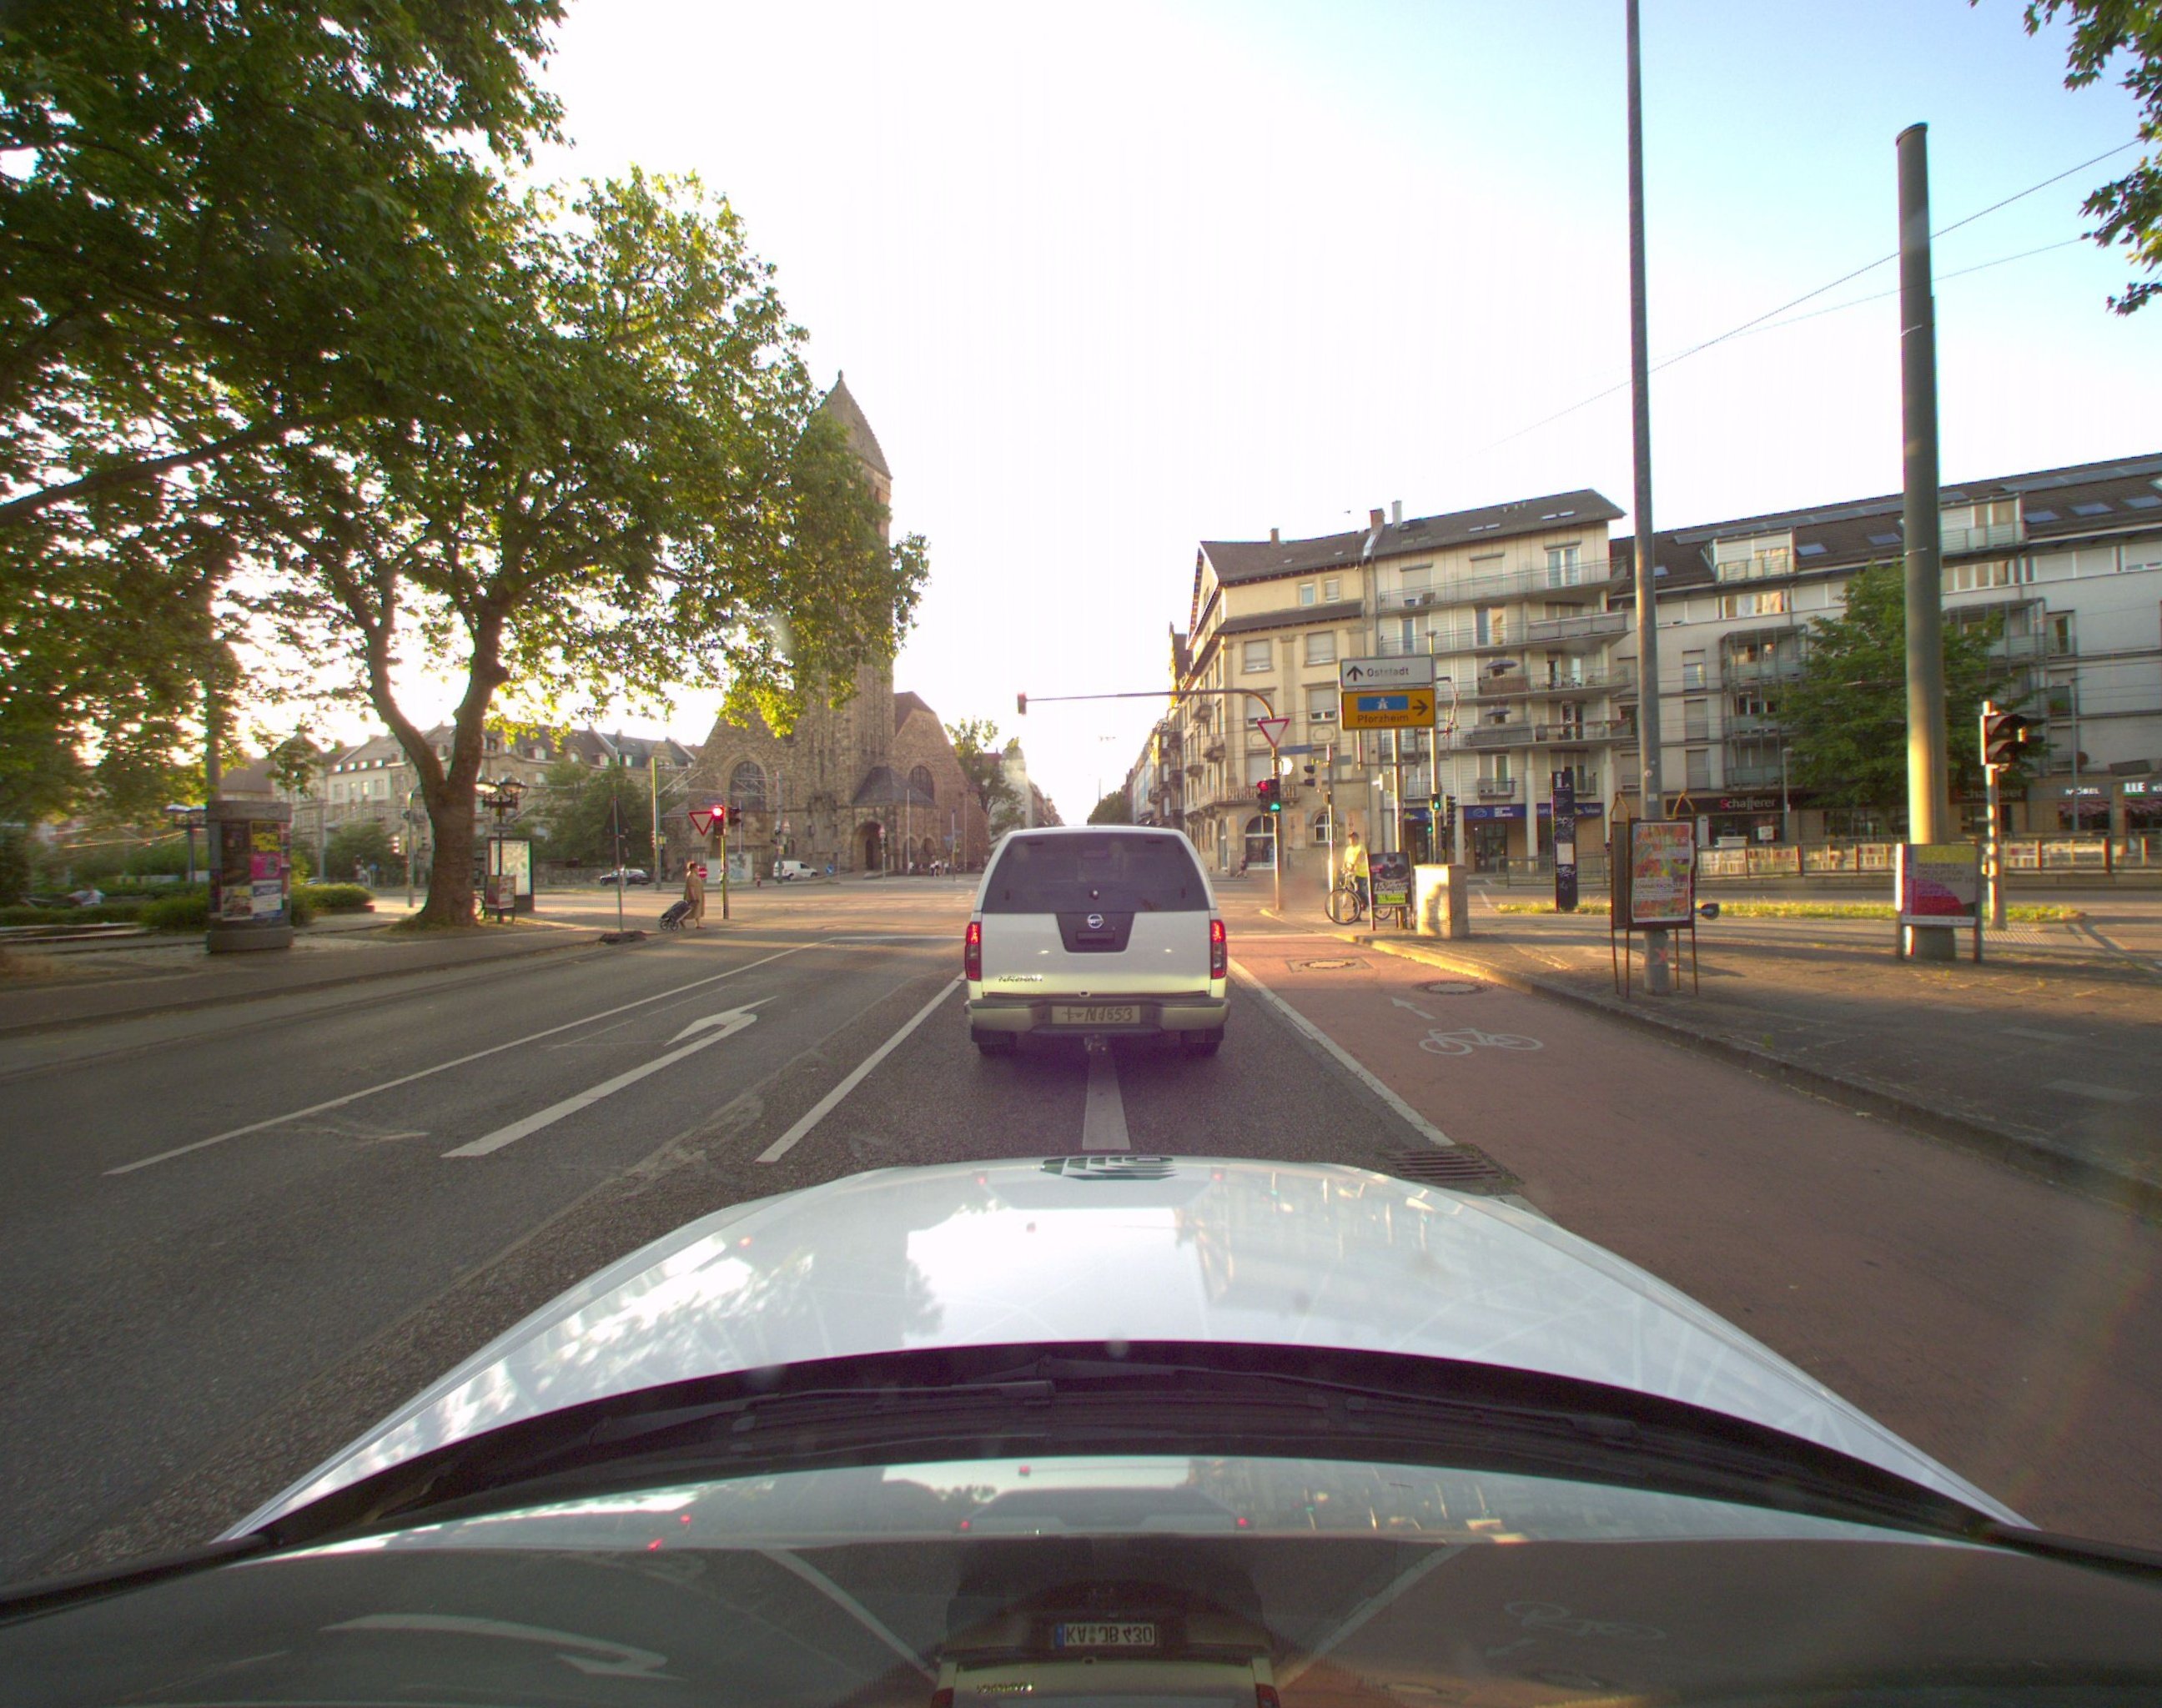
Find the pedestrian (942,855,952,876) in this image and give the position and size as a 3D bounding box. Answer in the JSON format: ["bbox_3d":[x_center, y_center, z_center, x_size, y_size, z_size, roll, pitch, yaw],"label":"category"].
[{"bbox_3d":[-11.991,1.034,72.779,0.809,1.901,0.666,0,-1,-1],"label":"pedestrian"}]

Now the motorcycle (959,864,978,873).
[{"bbox_3d":[-13.350,1.694,96.513,2.146,0.988,0.597,-1,-1,21],"label":"motorcycle"}]

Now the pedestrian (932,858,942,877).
[{"bbox_3d":[-12.865,1.239,72.751,0.809,1.669,0.859,0,-1,-1],"label":"pedestrian"}]

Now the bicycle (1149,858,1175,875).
[{"bbox_3d":[6.208,0.950,62.250,1.812,1.150,0.636,-5,-1,-1],"label":"bicycle"}]

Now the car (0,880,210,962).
[{"bbox_3d":[-26.751,1.749,21.503,1.975,1.781,4.669,-3,1,27],"label":"car"}]

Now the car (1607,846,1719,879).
[{"bbox_3d":[26.964,0.414,37.883,3.950,1.486,1.860,-1,-1,26],"label":"car"}]

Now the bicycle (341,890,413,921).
[{"bbox_3d":[-29.998,2.169,34.738,0.651,1.077,2.259,9,7,40],"label":"bicycle"}]

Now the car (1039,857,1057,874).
[{"bbox_3d":[-4.064,1.387,100.668,1.987,2.013,4.950,-2,0,0],"label":"car"}]

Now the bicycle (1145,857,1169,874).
[{"bbox_3d":[6.141,0.929,65.768,1.849,1.238,0.530,-5,-1,-1],"label":"bicycle"}]

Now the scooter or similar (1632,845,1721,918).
[{"bbox_3d":[10.624,0.478,14.544,1.219,1.249,0.518,-1,-1,41],"label":"scooter or similar"}]

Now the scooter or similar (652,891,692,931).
[{"bbox_3d":[-9.722,1.347,19.382,0.591,0.898,0.849,0,-1,-9],"label":"scooter or similar"}]

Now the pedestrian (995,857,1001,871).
[{"bbox_3d":[-10.825,1.345,106.283,0.643,1.855,0.559,0,-1,-13],"label":"pedestrian"}]

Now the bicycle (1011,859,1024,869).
[{"bbox_3d":[-6.874,1.088,88.555,0.594,1.043,1.956,-1,-1,21],"label":"bicycle"}]

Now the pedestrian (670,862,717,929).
[{"bbox_3d":[-9.620,1.023,20.244,0.800,1.628,0.773,0,-1,-3],"label":"pedestrian"}]

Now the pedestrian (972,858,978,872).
[{"bbox_3d":[-12.751,1.365,98.017,0.642,1.695,0.560,0,-1,-7],"label":"pedestrian"}]

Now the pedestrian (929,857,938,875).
[{"bbox_3d":[-13.615,1.104,75.124,0.630,1.698,0.604,-1,-1,8],"label":"pedestrian"}]

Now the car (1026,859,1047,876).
[{"bbox_3d":[-4.534,1.354,83.283,1.989,1.558,4.764,-2,1,-2],"label":"car"}]

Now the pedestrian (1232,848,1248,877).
[{"bbox_3d":[9.729,0.528,49.809,0.779,1.779,0.546,-1,-1,27],"label":"pedestrian"}]

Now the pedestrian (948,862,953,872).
[{"bbox_3d":[-12.960,1.269,80.806,0.522,0.960,0.477,0,-1,-14],"label":"pedestrian"}]

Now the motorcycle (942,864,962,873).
[{"bbox_3d":[-14.604,1.645,92.224,2.239,0.988,0.707,0,-1,-4],"label":"motorcycle"}]

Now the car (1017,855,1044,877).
[{"bbox_3d":[-4.464,1.034,72.672,1.987,1.784,4.797,-1,1,0],"label":"car"}]

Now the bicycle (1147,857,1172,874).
[{"bbox_3d":[6.220,0.910,64.629,1.812,1.238,0.412,-5,-1,-1],"label":"bicycle"}]

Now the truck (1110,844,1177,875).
[{"bbox_3d":[5.324,0.450,68.841,5.704,2.565,2.260,0,-1,-42],"label":"truck"}]

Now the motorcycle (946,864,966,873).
[{"bbox_3d":[-14.444,1.672,94.249,2.239,0.988,0.707,0,-1,-4],"label":"motorcycle"}]

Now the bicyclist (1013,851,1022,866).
[{"bbox_3d":[-6.919,0.506,88.526,0.594,1.645,0.968,-1,-1,22],"label":"bicyclist"}]

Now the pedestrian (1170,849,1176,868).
[{"bbox_3d":[8.318,0.409,73.735,0.525,1.654,0.547,0,-1,1],"label":"pedestrian"}]

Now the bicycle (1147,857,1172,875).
[{"bbox_3d":[6.113,0.920,63.193,1.812,1.238,0.488,-5,-1,-1],"label":"bicycle"}]

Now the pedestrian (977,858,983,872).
[{"bbox_3d":[-12.460,1.355,100.313,0.640,1.695,0.562,0,-1,1],"label":"pedestrian"}]

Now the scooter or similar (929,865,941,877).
[{"bbox_3d":[-13.274,1.535,73.890,0.629,1.103,1.083,-1,0,15],"label":"scooter or similar"}]

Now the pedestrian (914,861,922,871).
[{"bbox_3d":[-15.057,1.107,75.230,0.517,0.960,0.482,-1,-1,21],"label":"pedestrian"}]

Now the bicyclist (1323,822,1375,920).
[{"bbox_3d":[5.108,0.322,15.523,0.701,1.824,0.622,0,-1,-31],"label":"bicyclist"}]

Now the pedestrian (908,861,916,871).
[{"bbox_3d":[-15.668,1.116,75.520,0.517,0.960,0.482,-1,-1,21],"label":"pedestrian"}]

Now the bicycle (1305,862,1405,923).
[{"bbox_3d":[5.270,0.710,15.612,2.079,1.109,0.622,0,-1,-31],"label":"bicycle"}]

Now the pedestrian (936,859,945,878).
[{"bbox_3d":[-12.907,1.303,74.760,0.629,1.698,0.605,-1,-1,12],"label":"pedestrian"}]

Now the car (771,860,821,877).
[{"bbox_3d":[-26.352,1.345,75.359,1.698,1.517,4.481,-1,-1,26],"label":"car"}]

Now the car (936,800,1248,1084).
[{"bbox_3d":[0.128,0.590,7.214,1.986,1.809,4.001,0,-1,2],"label":"car"}]

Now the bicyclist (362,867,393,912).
[{"bbox_3d":[-29.935,1.495,34.662,0.650,1.827,0.864,-6,-4,41],"label":"bicyclist"}]

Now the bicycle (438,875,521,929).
[{"bbox_3d":[-15.825,1.236,21.506,0.522,1.326,1.998,-1,-1,7],"label":"bicycle"}]

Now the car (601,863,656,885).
[{"bbox_3d":[-38.066,1.698,68.507,3.950,1.618,2.012,-3,-1,26],"label":"car"}]

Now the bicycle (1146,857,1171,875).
[{"bbox_3d":[6.097,0.935,63.905,1.812,1.238,0.477,-5,-1,-1],"label":"bicycle"}]

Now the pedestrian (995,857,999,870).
[{"bbox_3d":[-11.049,1.275,107.129,0.559,1.695,0.643,0,-1,-6],"label":"pedestrian"}]

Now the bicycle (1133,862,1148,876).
[{"bbox_3d":[4.643,1.154,63.632,1.073,1.024,0.317,-4,-1,-1],"label":"bicycle"}]

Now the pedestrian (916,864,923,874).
[{"bbox_3d":[-15.142,1.399,76.400,0.473,0.960,0.526,-1,-1,31],"label":"pedestrian"}]

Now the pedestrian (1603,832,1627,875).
[{"bbox_3d":[27.877,-0.027,42.537,0.860,2.209,0.825,-1,-1,21],"label":"pedestrian"}]

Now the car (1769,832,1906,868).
[{"bbox_3d":[32.679,-0.148,35.318,3.952,1.486,1.859,-1,-1,21],"label":"car"}]
